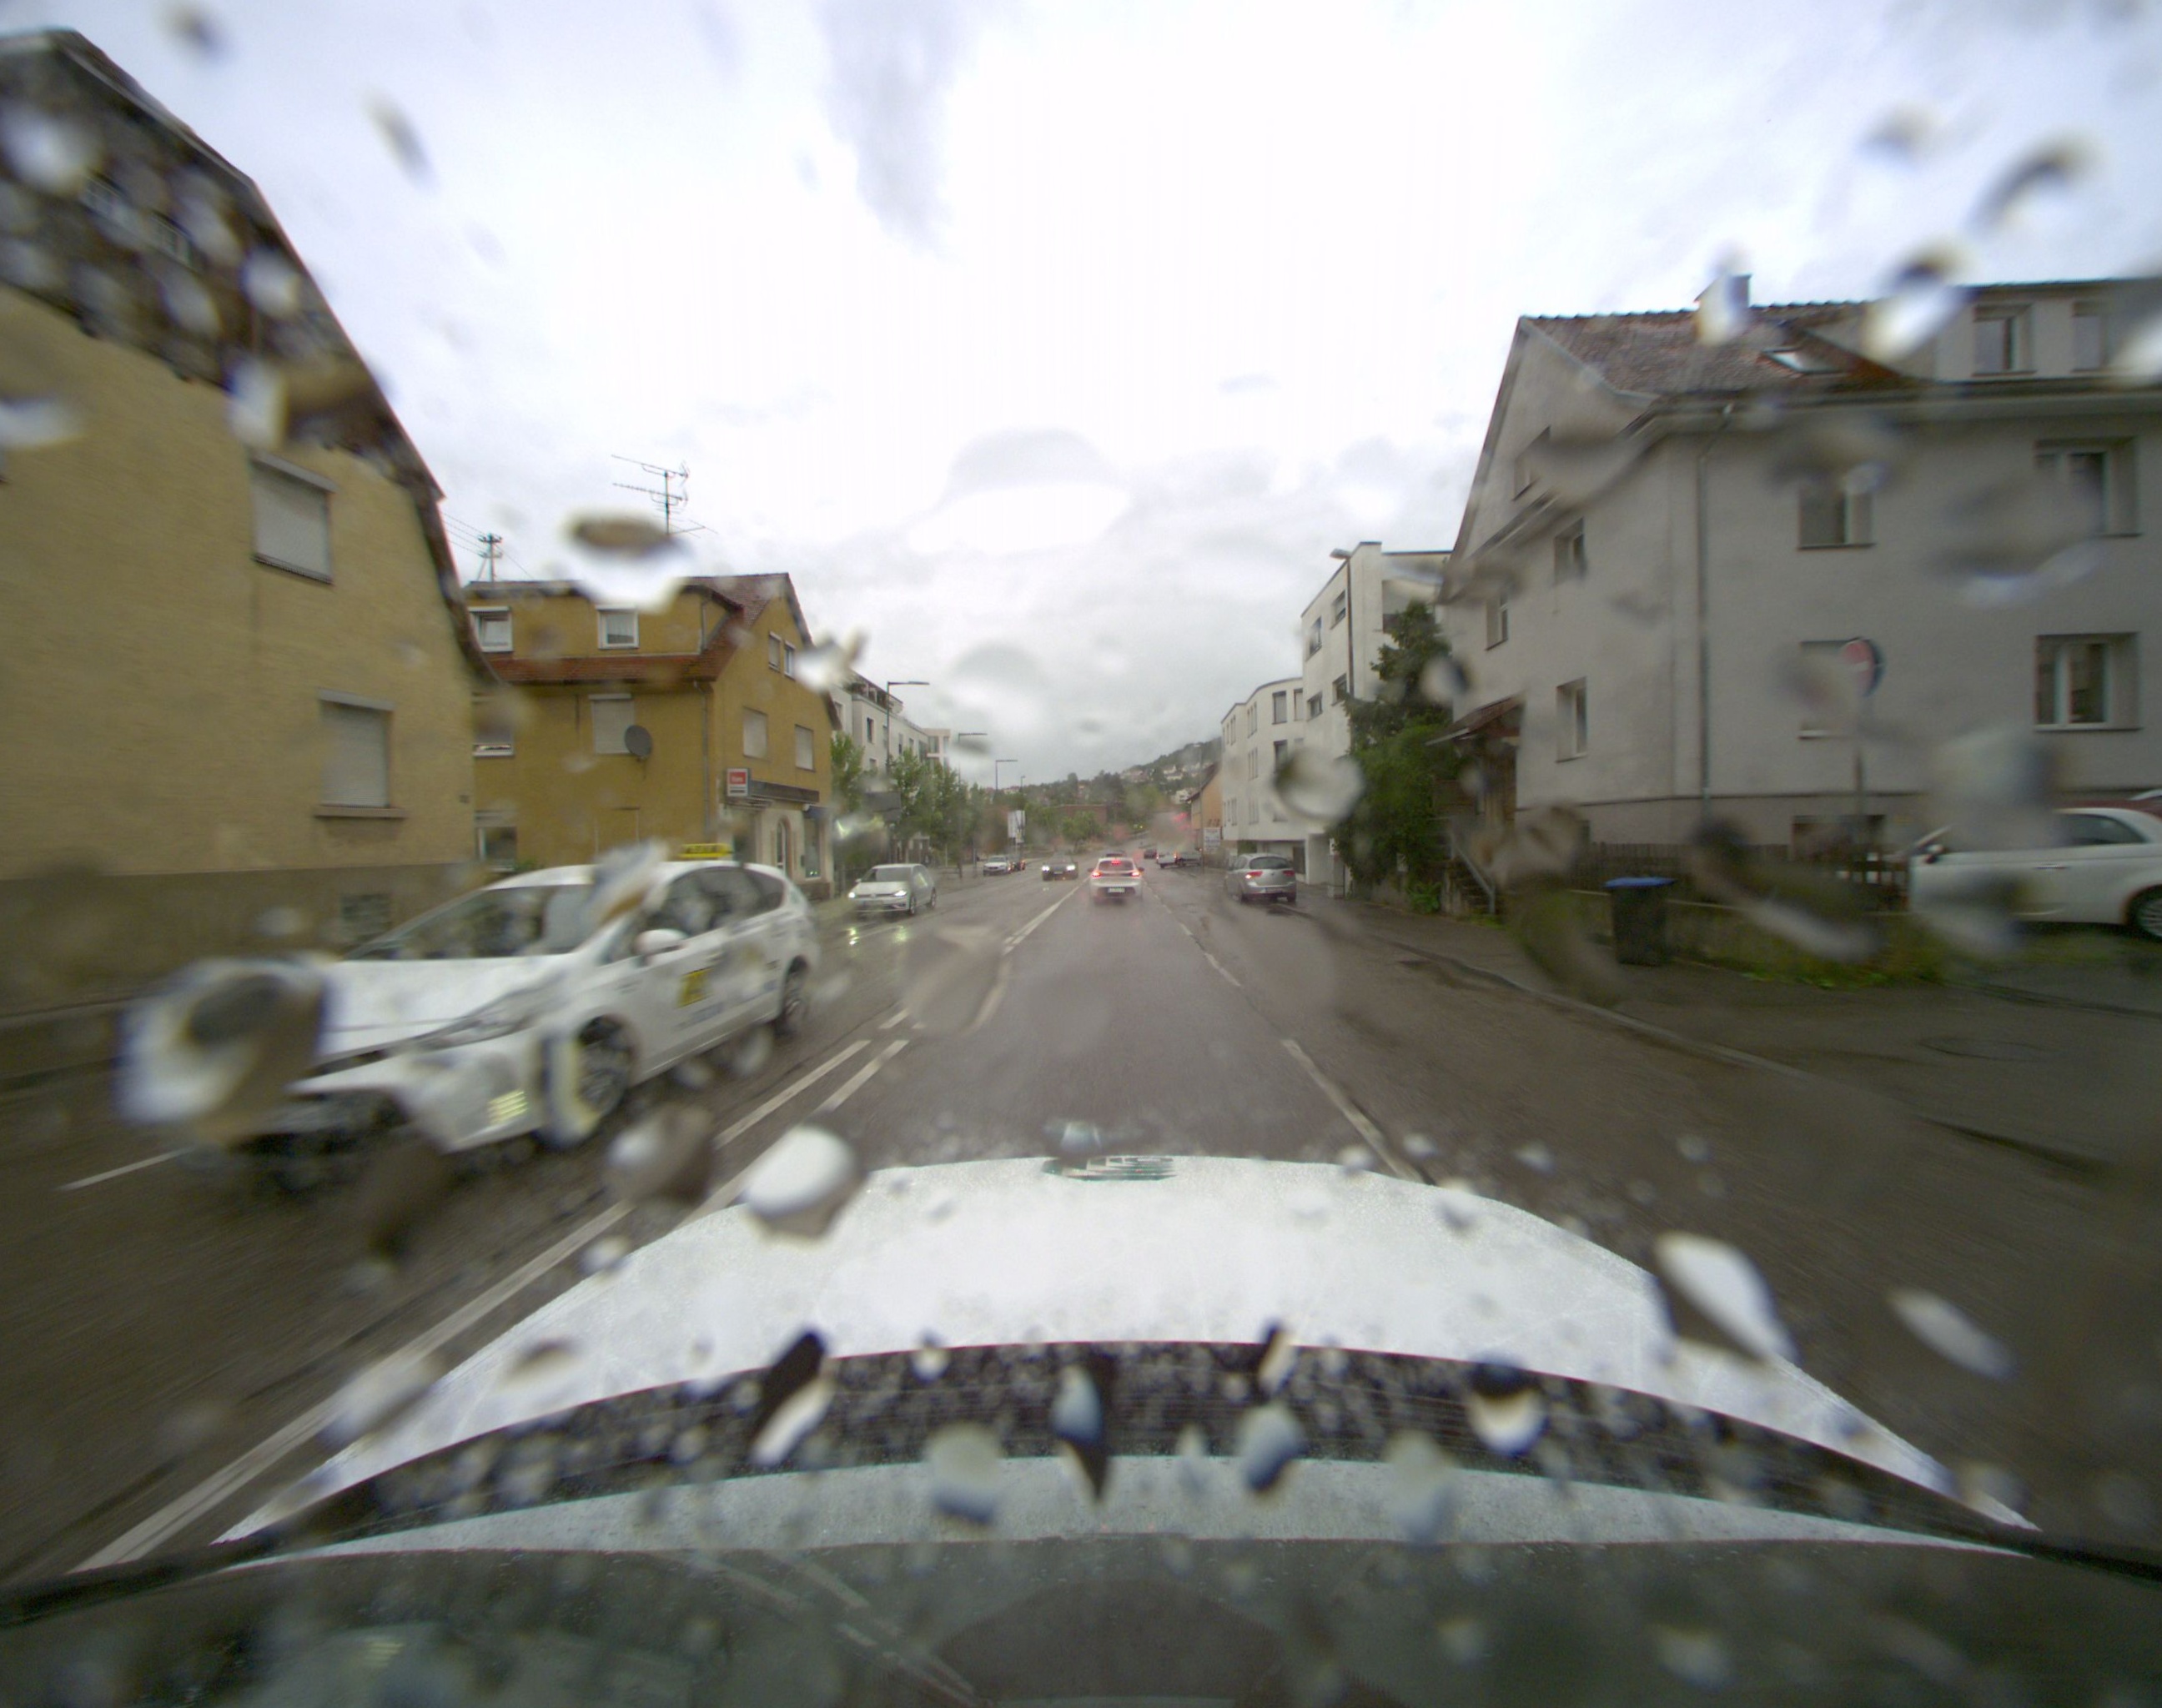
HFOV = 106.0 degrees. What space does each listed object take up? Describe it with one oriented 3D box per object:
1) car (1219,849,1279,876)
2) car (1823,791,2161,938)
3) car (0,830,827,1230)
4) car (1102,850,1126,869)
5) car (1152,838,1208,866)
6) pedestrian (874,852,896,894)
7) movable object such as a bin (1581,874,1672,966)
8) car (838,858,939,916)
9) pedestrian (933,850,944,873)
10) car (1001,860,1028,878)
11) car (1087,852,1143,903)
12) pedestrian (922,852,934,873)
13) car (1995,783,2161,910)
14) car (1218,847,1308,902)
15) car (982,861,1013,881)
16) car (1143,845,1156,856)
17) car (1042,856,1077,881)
[{"bbox_3d":[11.767,0.558,57.315,3.777,1.530,1.821,5,1,1],"label":"car"},{"bbox_3d":[11.274,0.107,9.684,1.359,1.502,3.309,-4,0,-29],"label":"car"},{"bbox_3d":[-3.569,0.770,5.744,1.871,1.609,4.721,-2,-1,2],"label":"car"},{"bbox_3d":[2.535,0.405,61.856,1.734,1.295,3.336,-2,0,2],"label":"car"},{"bbox_3d":[9.013,-0.178,73.743,2.268,2.382,6.667,-3,-1,33],"label":"car"},{"bbox_3d":[-8.515,0.825,35.405,0.800,1.788,0.879,-2,-1,-9],"label":"pedestrian"},{"bbox_3d":[6.867,0.807,10.285,0.573,1.048,0.831,-3,1,2],"label":"movable object such as a bin"},{"bbox_3d":[-5.504,0.909,23.778,1.642,1.418,4.142,-4,-1,3],"label":"car"},{"bbox_3d":[-13.865,0.740,79.174,0.742,2.145,0.774,-1,-1,15],"label":"pedestrian"},{"bbox_3d":[-6.076,1.350,74.744,1.683,1.510,4.584,-2,-1,5],"label":"car"},{"bbox_3d":[1.175,0.751,27.095,1.683,1.519,3.937,-2,-1,4],"label":"car"},{"bbox_3d":[-12.932,0.731,68.907,0.805,1.738,1.003,-2,-1,2],"label":"pedestrian"},{"bbox_3d":[13.819,-0.130,10.218,1.314,1.545,2.800,-4,0,-12],"label":"car"},{"bbox_3d":[5.848,0.686,26.683,2.005,1.622,4.360,-1,-2,0],"label":"car"},{"bbox_3d":[-6.397,1.314,62.515,1.789,1.463,4.479,-1,-1,1],"label":"car"},{"bbox_3d":[10.218,-0.586,121.315,1.727,1.387,3.355,0,4,2],"label":"car"},{"bbox_3d":[-1.258,0.866,49.115,1.761,1.413,4.528,-2,-1,2],"label":"car"}]
